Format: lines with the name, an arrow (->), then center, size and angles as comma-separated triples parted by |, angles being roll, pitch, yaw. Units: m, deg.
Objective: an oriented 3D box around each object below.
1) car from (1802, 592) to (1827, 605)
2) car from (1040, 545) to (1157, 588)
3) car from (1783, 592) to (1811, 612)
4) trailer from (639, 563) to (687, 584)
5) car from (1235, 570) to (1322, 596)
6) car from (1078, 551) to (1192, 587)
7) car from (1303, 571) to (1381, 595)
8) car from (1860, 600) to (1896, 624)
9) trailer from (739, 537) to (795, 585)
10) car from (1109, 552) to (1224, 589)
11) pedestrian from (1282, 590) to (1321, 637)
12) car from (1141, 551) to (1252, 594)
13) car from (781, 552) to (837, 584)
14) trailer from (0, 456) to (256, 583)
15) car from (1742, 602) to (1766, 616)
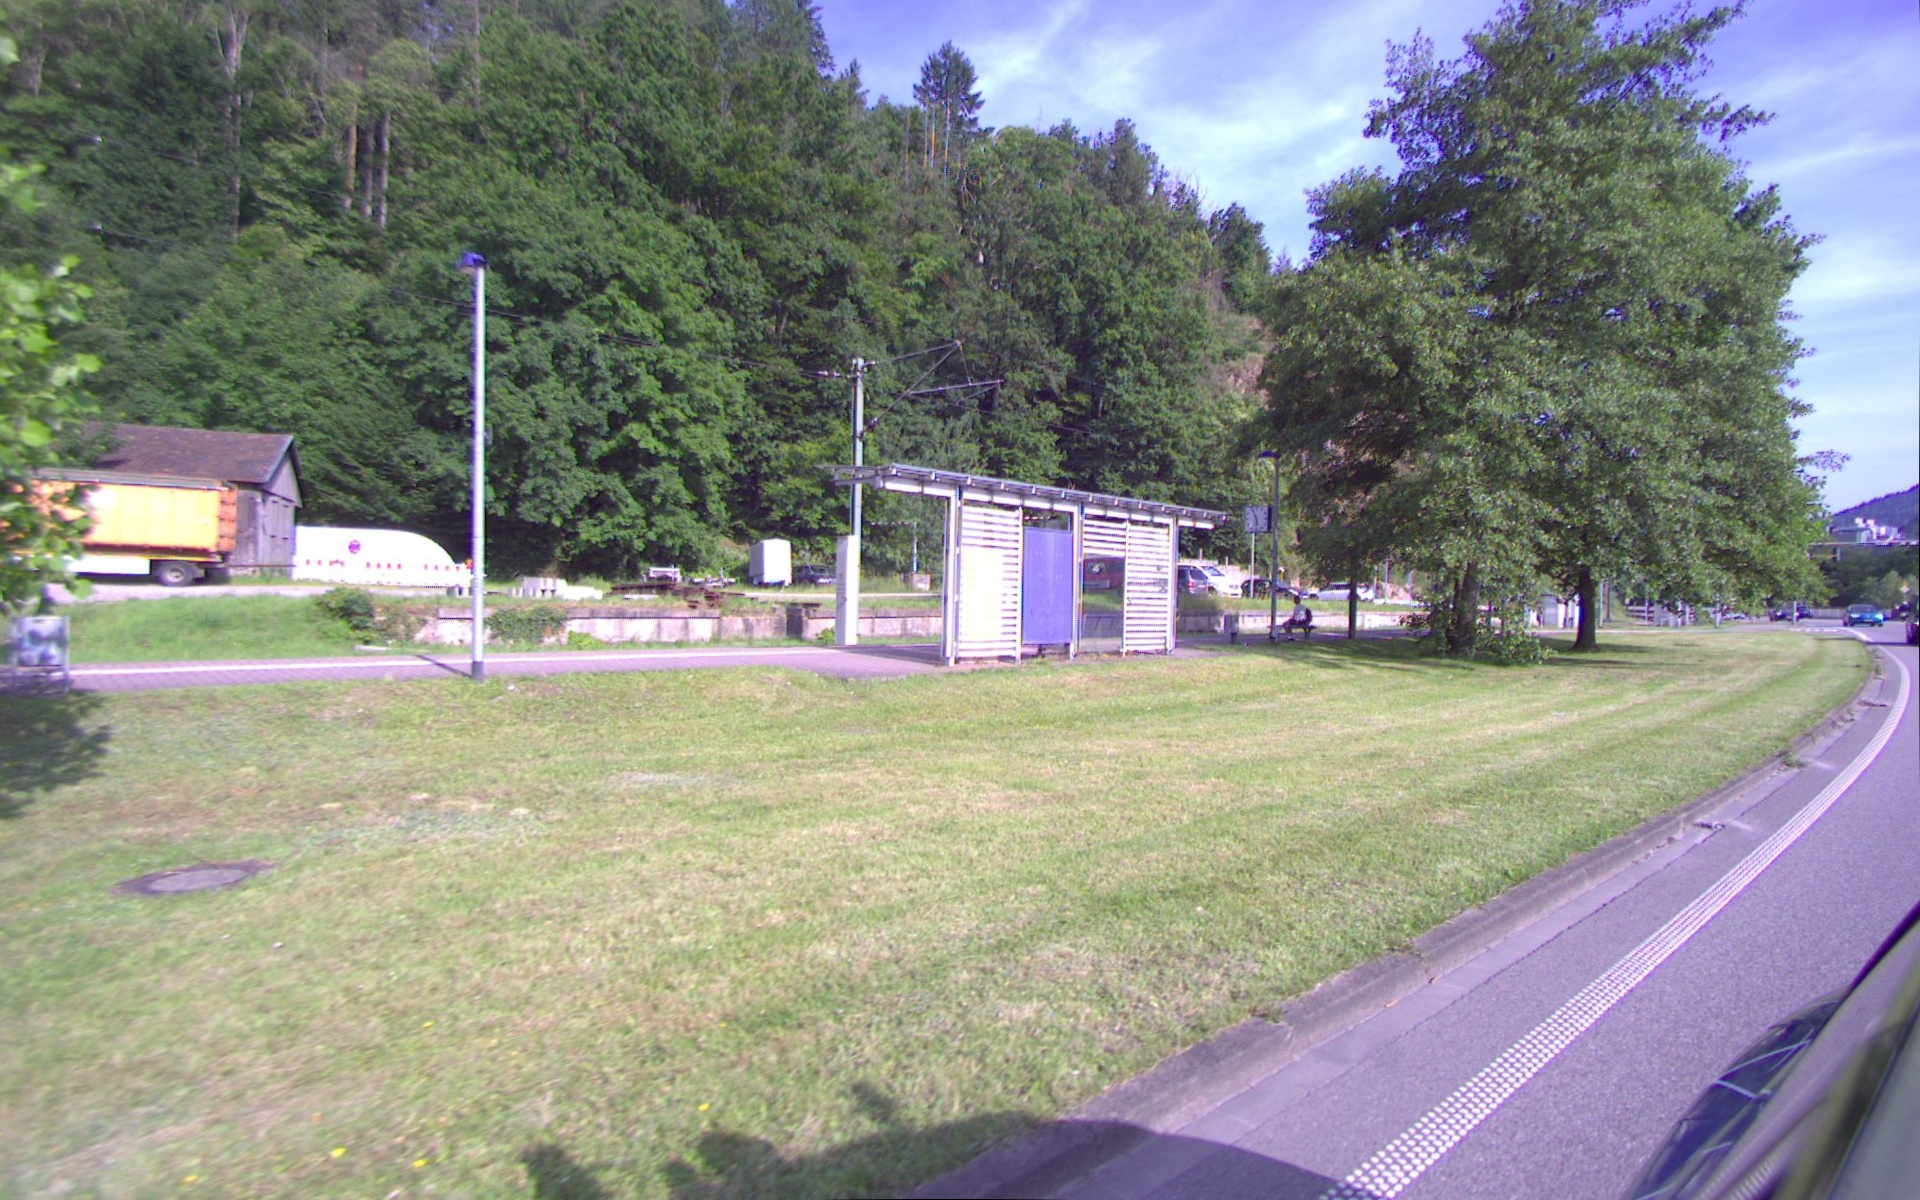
car -> 98.294, -0.188, 116.469 | 1.668, 1.508, 3.742 | 2, 2, 33
car -> 5.965, -1.411, 44.004 | 1.904, 1.712, 4.954 | 1, 0, -44
car -> 82.130, 0.175, 99.324 | 1.991, 1.816, 3.942 | 3, 2, 40
trailer -> -13.968, -1.246, 47.527 | 1.701, 0.926, 3.078 | 1, 1, -25
car -> 17.596, -0.932, 56.064 | 1.801, 1.360, 4.268 | 1, 0, -44
car -> 7.858, -1.356, 45.766 | 1.864, 1.487, 4.954 | 1, 0, -44
car -> 23.134, -1.029, 61.365 | 1.780, 1.416, 4.099 | 1, 0, -44
car -> 63.619, 0.811, 70.121 | 1.763, 1.478, 3.520 | 3, 2, 43
trailer -> -9.420, -1.880, 49.266 | 1.781, 2.217, 3.711 | 1, 1, -25
car -> 9.618, -1.325, 47.396 | 2.106, 1.607, 4.954 | 1, 0, -44
pedestrian -> 8.880, 0.352, 26.320 | 0.712, 1.175, 0.637 | 1, 1, -36
car -> 11.422, -1.296, 49.106 | 2.106, 1.968, 4.954 | 1, 0, -44
car -> -7.389, -1.570, 49.309 | 1.636, 1.505, 3.620 | 1, 2, -27
trailer -> -28.949, -2.661, 34.669 | 7.572, 3.941, 2.620 | 1, 2, -25
car -> 93.016, 1.011, 118.597 | 1.865, 1.478, 3.685 | 2, 2, 33
